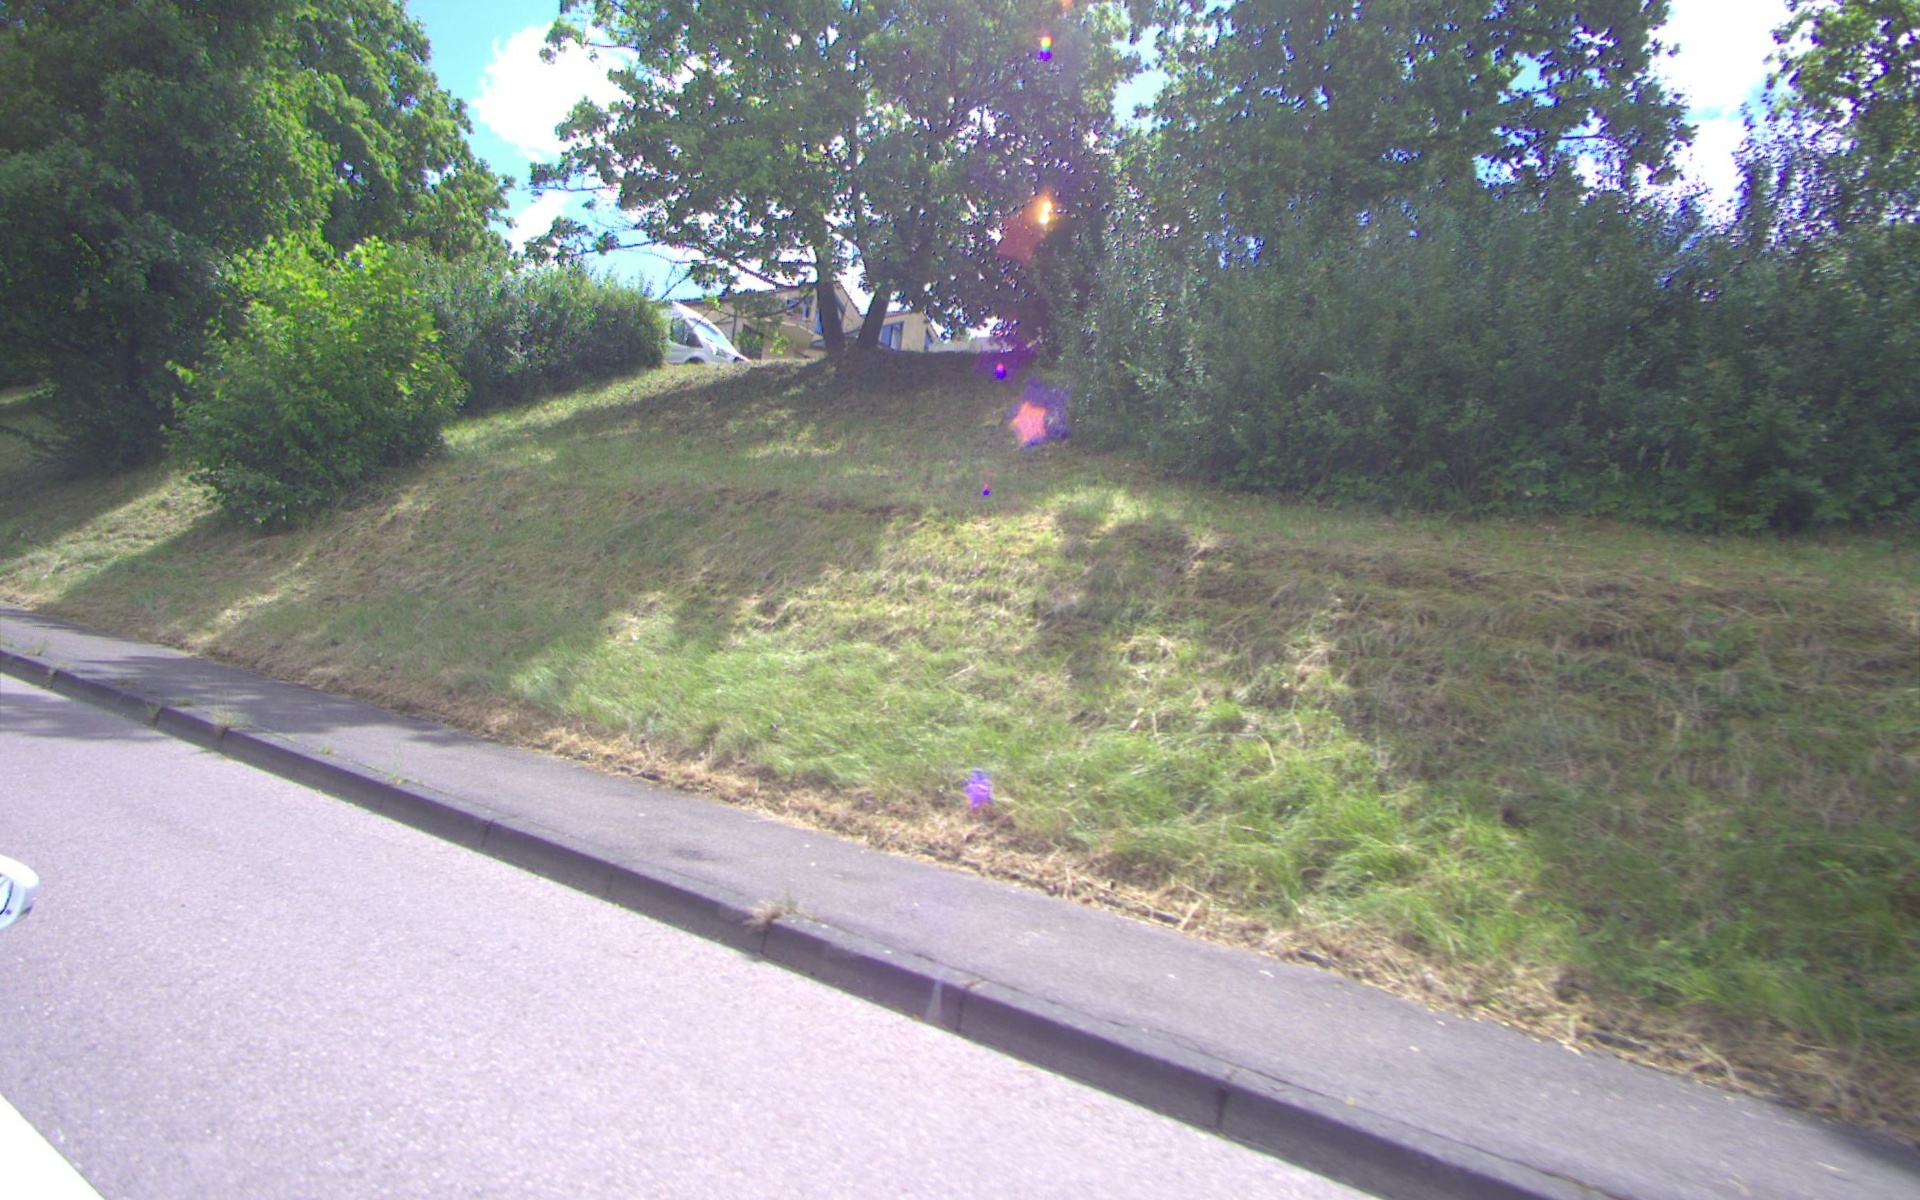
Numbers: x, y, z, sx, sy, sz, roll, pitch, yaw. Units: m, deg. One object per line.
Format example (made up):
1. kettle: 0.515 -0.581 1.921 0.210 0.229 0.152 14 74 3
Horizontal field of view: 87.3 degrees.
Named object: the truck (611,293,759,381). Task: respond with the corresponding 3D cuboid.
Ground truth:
1. truck: -7.760 -7.364 28.369 3.897 1.963 1.388 7 -1 26
